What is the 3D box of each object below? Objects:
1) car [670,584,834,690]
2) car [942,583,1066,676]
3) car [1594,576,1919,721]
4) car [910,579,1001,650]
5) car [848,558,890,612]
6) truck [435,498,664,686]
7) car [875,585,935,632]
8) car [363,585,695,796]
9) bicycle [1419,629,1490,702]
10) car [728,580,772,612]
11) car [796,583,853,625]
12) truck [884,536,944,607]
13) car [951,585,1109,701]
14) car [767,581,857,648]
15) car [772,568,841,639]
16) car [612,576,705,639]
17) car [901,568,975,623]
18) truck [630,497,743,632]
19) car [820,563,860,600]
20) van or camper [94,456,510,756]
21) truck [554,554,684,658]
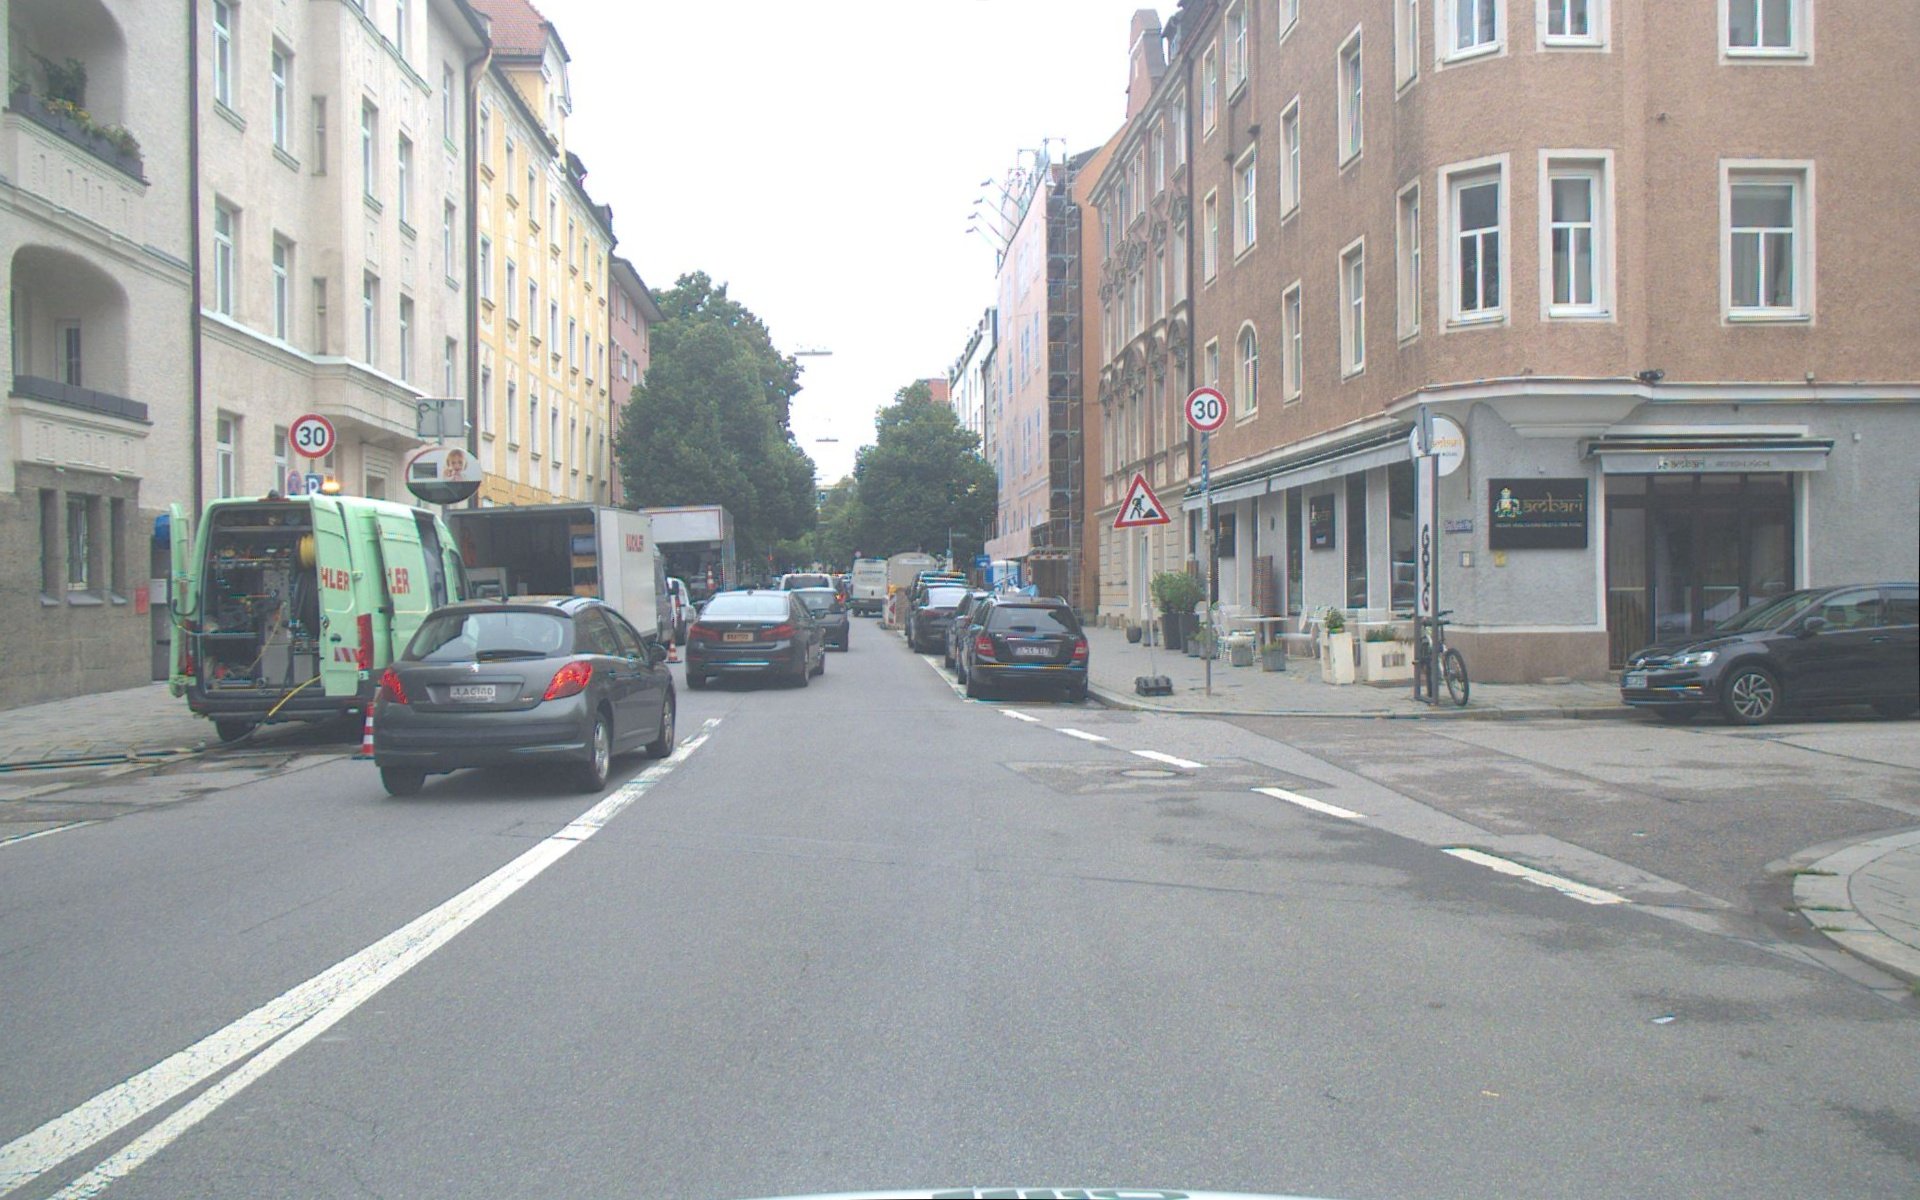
[{"bbox_3d":[-3.179,0.506,26.271,1.949,1.454,4.906,0,1,0],"label":"car"},{"bbox_3d":[0.735,0.485,30.321,1.808,1.454,4.137,2,1,-5],"label":"car"},{"bbox_3d":[9.340,0.511,18.050,4.086,1.454,1.924,-1,-2,-3],"label":"car"},{"bbox_3d":[-0.166,0.301,39.191,1.808,1.454,4.303,2,1,-5],"label":"car"},{"bbox_3d":[-4.366,-0.730,79.791,1.900,2.523,4.781,0,0,-2],"label":"car"},{"bbox_3d":[-7.067,-0.213,29.512,2.718,2.923,7.196,-1,1,-4],"label":"truck"},{"bbox_3d":[-1.913,0.253,56.519,1.950,1.454,4.138,-1,1,-3],"label":"car"},{"bbox_3d":[-3.417,0.633,13.903,1.723,1.486,4.074,-1,0,0],"label":"car"},{"bbox_3d":[5.991,0.781,20.083,0.447,0.819,1.326,0,0,-1],"label":"bicycle"},{"bbox_3d":[-10.063,-0.202,79.423,1.901,1.473,3.863,0,0,-4],"label":"car"},{"bbox_3d":[-5.001,0.119,61.380,1.950,1.454,4.138,-1,1,-3],"label":"car"},{"bbox_3d":[-2.057,-1.222,72.888,2.442,3.025,5.323,0,0,-4],"label":"truck"},{"bbox_3d":[0.944,0.569,24.590,1.808,1.454,4.180,2,1,-5],"label":"car"},{"bbox_3d":[-3.477,0.302,39.502,1.950,1.454,4.138,-1,1,-3],"label":"car"},{"bbox_3d":[-4.745,0.064,51.664,1.950,2.111,4.138,-1,1,-3],"label":"car"},{"bbox_3d":[-8.133,0.174,44.992,1.950,1.639,4.138,0,0,-3],"label":"car"},{"bbox_3d":[-0.675,-0.175,47.043,1.950,1.454,4.138,-1,1,-3],"label":"car"},{"bbox_3d":[-8.589,-1.091,52.709,2.953,4.021,6.989,0,0,-5],"label":"truck"},{"bbox_3d":[-6.478,-1.013,89.642,1.953,1.937,3.999,0,0,-1],"label":"car"},{"bbox_3d":[-7.232,-0.021,19.176,2.548,2.889,6.183,-1,1,-3],"label":"van or camper"},{"bbox_3d":[-7.646,0.105,37.530,2.241,2.209,4.803,0,0,-4],"label":"truck"}]
